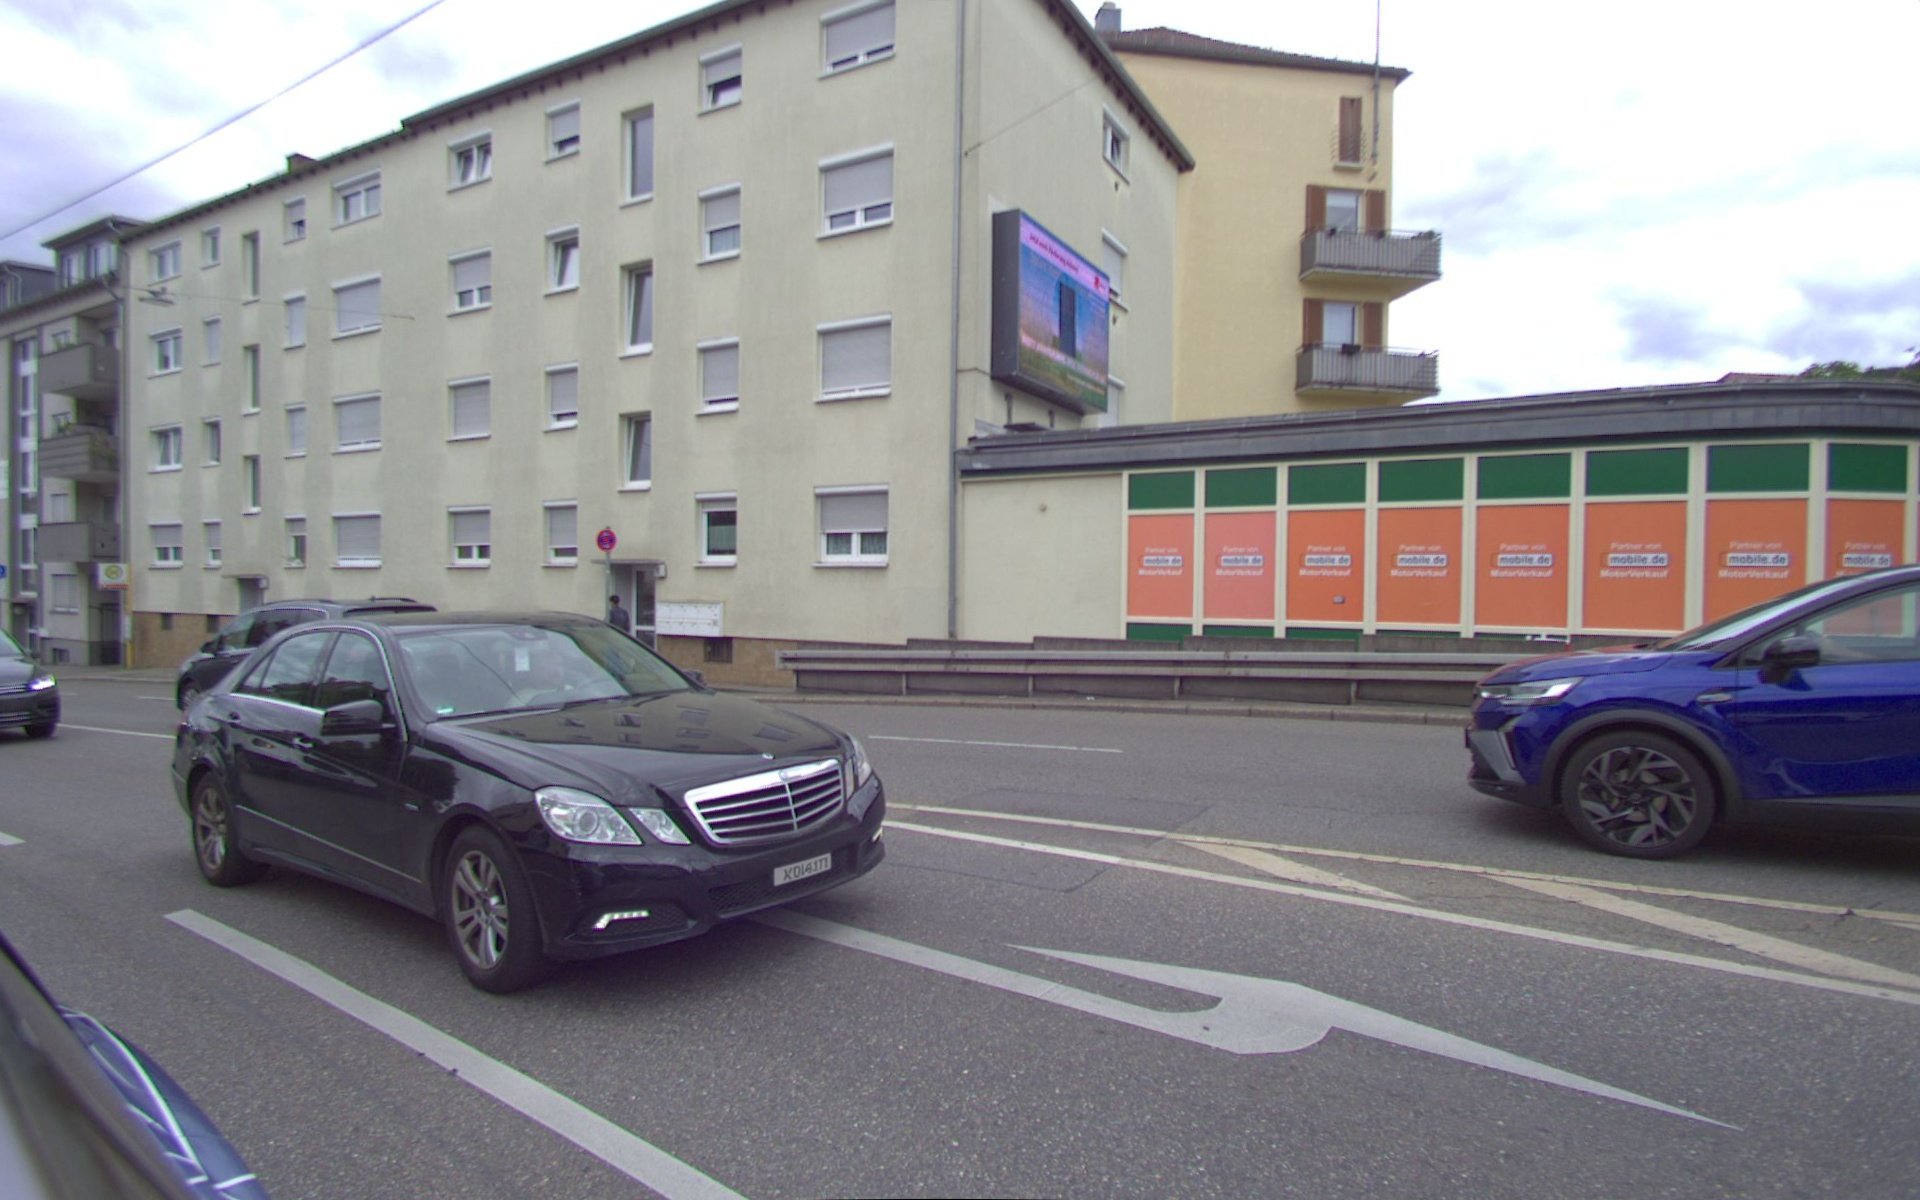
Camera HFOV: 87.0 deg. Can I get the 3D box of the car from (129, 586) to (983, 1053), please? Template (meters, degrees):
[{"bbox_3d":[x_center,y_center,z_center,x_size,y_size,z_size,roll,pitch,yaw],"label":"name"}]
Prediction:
[{"bbox_3d":[-2.427,0.726,5.402,4.833,1.439,1.976,-2,0,36],"label":"car"}]

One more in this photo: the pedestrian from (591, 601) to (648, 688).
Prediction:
[{"bbox_3d":[-6.688,0.866,19.884,0.775,1.649,0.684,-2,0,26],"label":"pedestrian"}]

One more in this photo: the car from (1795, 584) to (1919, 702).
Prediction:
[{"bbox_3d":[14.719,0.538,14.523,3.938,1.564,2.003,-1,0,-7],"label":"car"}]

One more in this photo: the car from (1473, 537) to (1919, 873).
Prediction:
[{"bbox_3d":[5.041,0.471,5.298,4.024,1.543,1.773,-2,0,33],"label":"car"}]

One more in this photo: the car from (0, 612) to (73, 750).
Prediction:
[{"bbox_3d":[-13.605,1.025,13.085,4.461,1.623,1.845,-1,1,30],"label":"car"}]

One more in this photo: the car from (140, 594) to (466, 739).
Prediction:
[{"bbox_3d":[-9.200,0.837,14.080,4.700,1.727,1.891,-1,-1,30],"label":"car"}]
